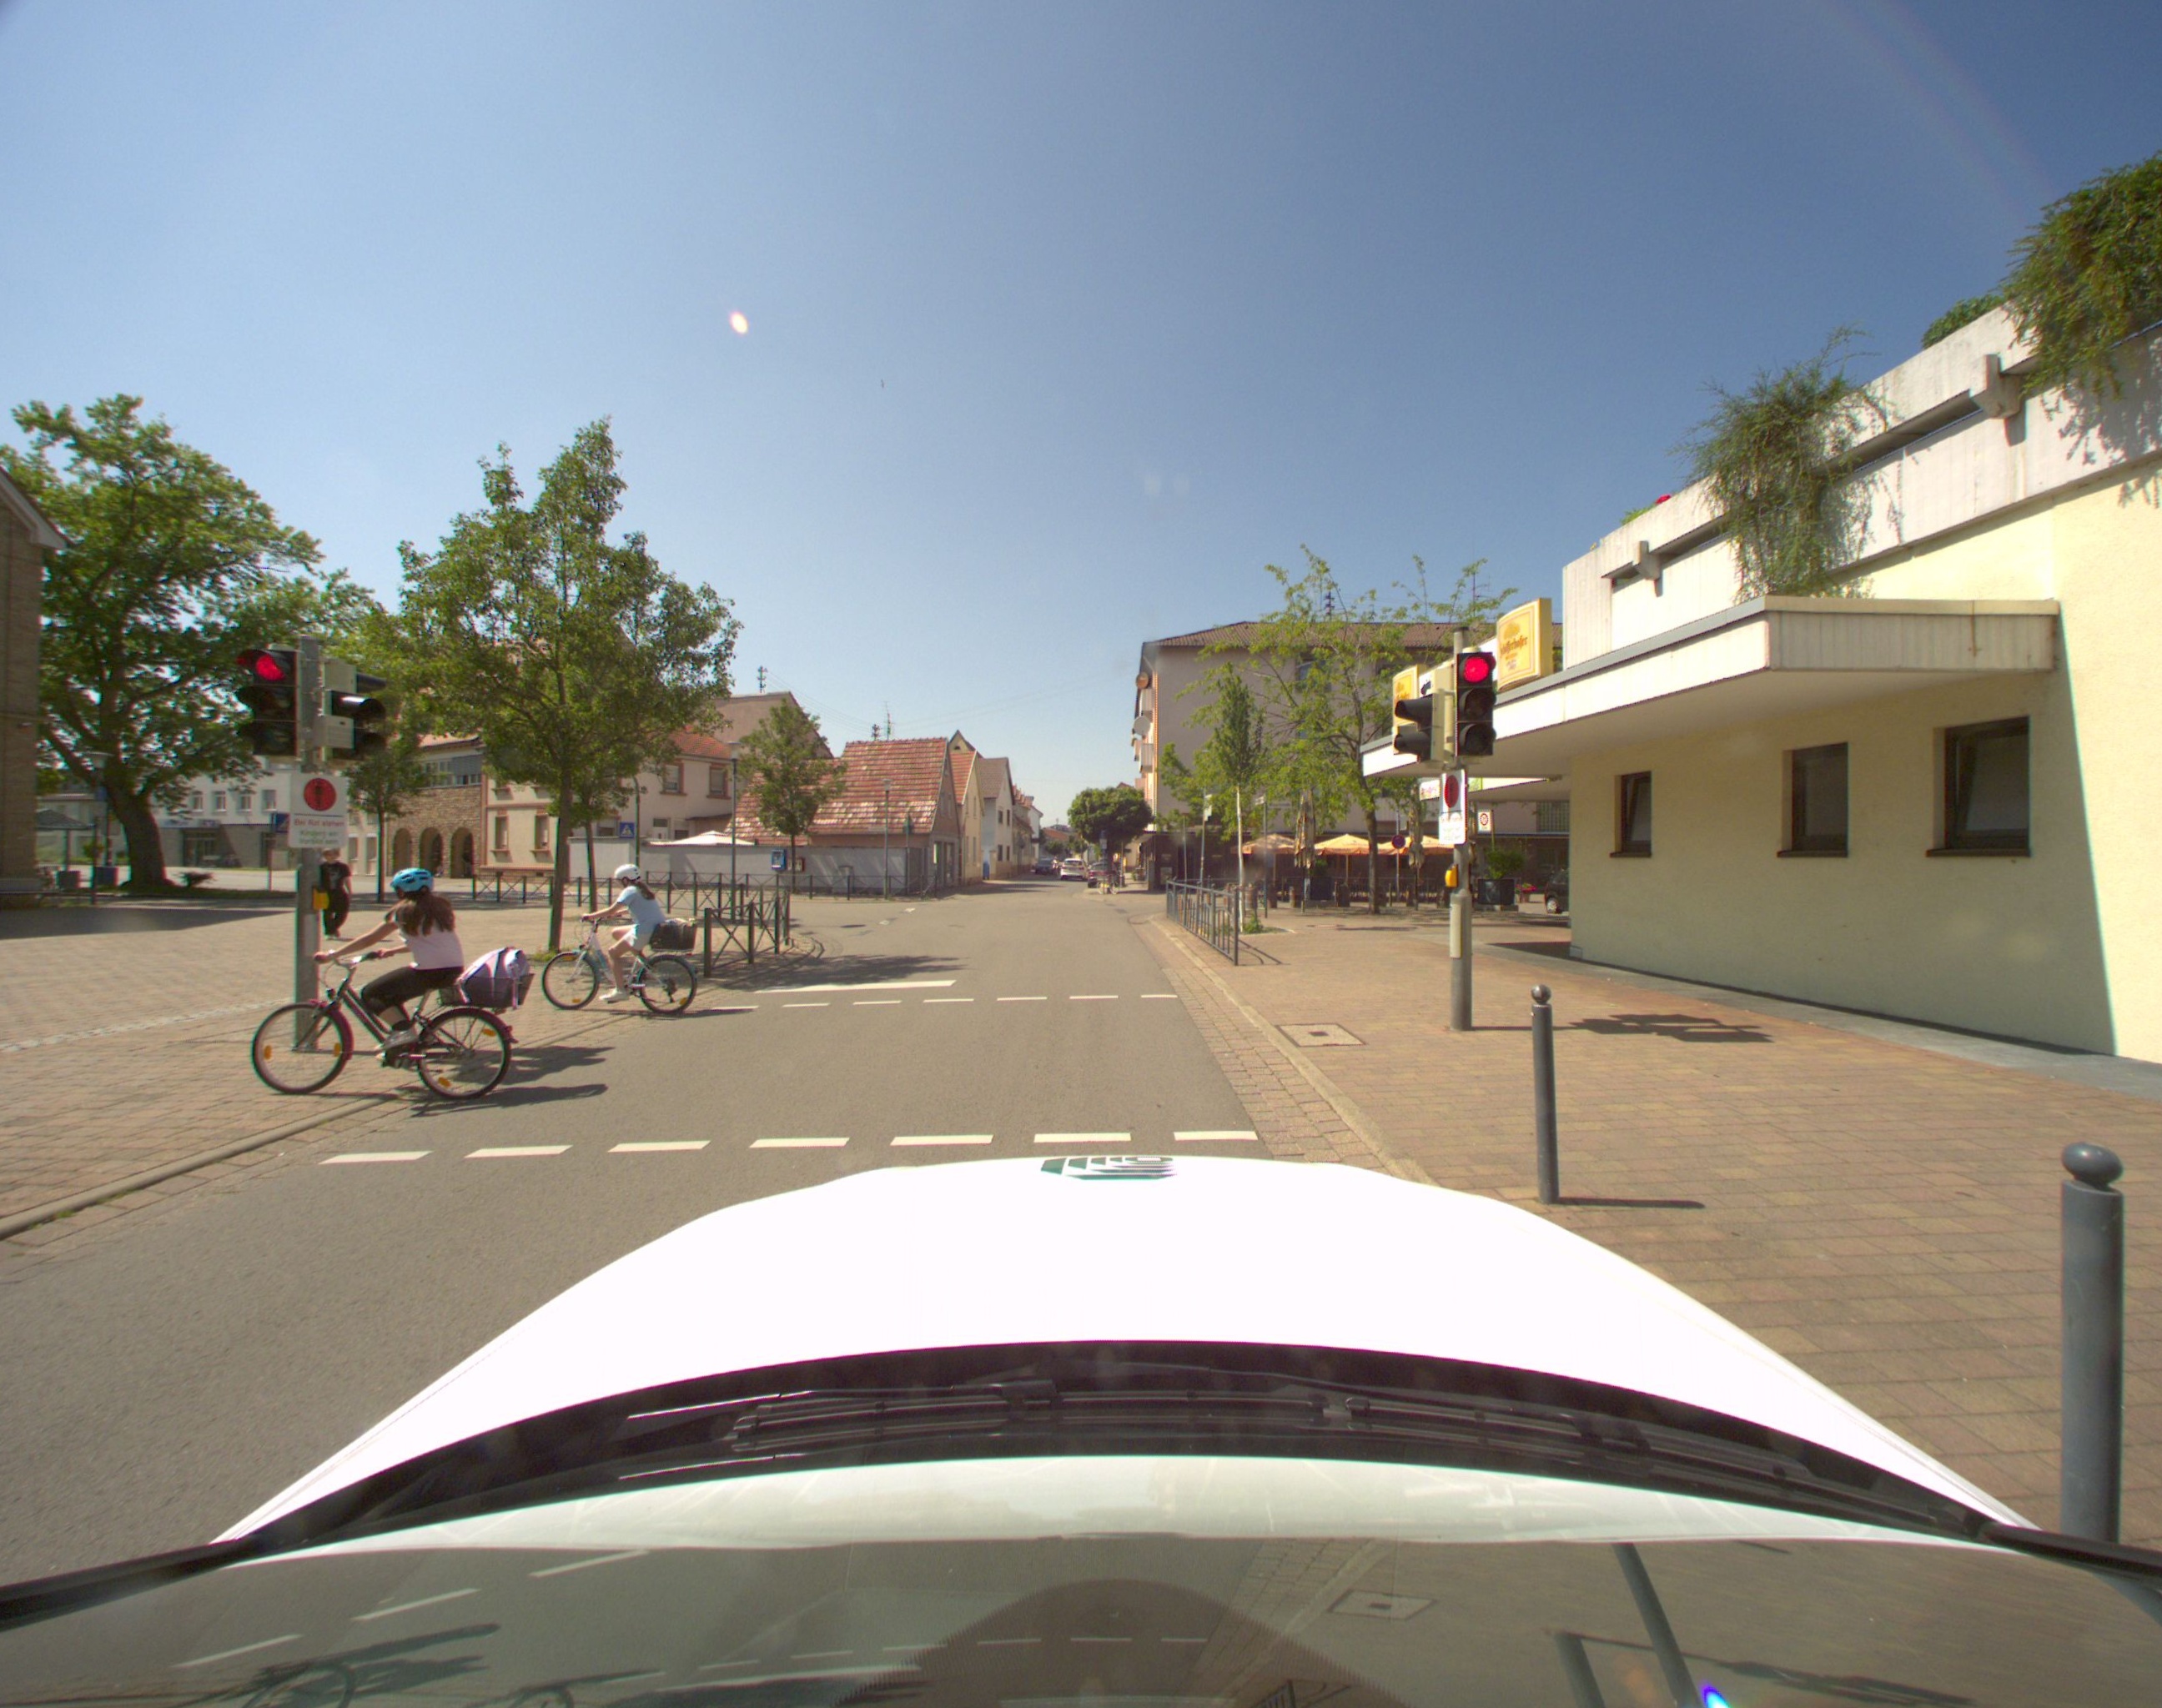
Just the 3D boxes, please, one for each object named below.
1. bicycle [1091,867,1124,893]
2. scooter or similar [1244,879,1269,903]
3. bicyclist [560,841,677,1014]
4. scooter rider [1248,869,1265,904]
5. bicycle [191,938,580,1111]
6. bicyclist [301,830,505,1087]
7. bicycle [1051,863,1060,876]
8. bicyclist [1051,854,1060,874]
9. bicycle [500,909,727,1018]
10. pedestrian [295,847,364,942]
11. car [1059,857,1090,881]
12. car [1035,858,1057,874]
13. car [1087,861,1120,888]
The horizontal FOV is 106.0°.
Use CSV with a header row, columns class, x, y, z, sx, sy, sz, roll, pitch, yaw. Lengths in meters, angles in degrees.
class,x,y,z,sx,sy,sz,roll,pitch,yaw
bicycle,1.254,1.244,38.849,0.530,1.193,1.655,1,-1,-42
scooter or similar,6.529,1.362,30.362,0.382,0.873,0.880,1,-1,-39
bicyclist,-4.677,0.717,8.276,0.756,1.664,0.671,-2,0,2
scooter rider,6.539,1.199,30.360,0.520,1.286,0.413,1,-1,-39
bicycle,-4.484,1.078,5.372,1.887,0.958,0.674,0,0,-6
bicyclist,-4.430,0.647,5.374,0.758,1.581,0.670,1,0,-5
bicycle,-2.193,1.382,70.946,0.671,1.094,1.896,-1,-1,2
bicyclist,-2.207,0.858,70.948,0.666,1.691,0.762,-1,-1,1
bicycle,-4.708,1.094,8.272,1.883,0.958,0.676,-2,0,1
pedestrian,-13.608,0.707,14.775,0.818,1.654,0.841,2,-2,-40
car,-0.464,1.064,59.145,1.825,1.652,4.006,2,0,5
car,-3.360,1.156,78.462,1.707,1.517,3.789,0,-1,3
car,1.368,1.162,47.627,1.797,1.501,4.003,0,0,3
